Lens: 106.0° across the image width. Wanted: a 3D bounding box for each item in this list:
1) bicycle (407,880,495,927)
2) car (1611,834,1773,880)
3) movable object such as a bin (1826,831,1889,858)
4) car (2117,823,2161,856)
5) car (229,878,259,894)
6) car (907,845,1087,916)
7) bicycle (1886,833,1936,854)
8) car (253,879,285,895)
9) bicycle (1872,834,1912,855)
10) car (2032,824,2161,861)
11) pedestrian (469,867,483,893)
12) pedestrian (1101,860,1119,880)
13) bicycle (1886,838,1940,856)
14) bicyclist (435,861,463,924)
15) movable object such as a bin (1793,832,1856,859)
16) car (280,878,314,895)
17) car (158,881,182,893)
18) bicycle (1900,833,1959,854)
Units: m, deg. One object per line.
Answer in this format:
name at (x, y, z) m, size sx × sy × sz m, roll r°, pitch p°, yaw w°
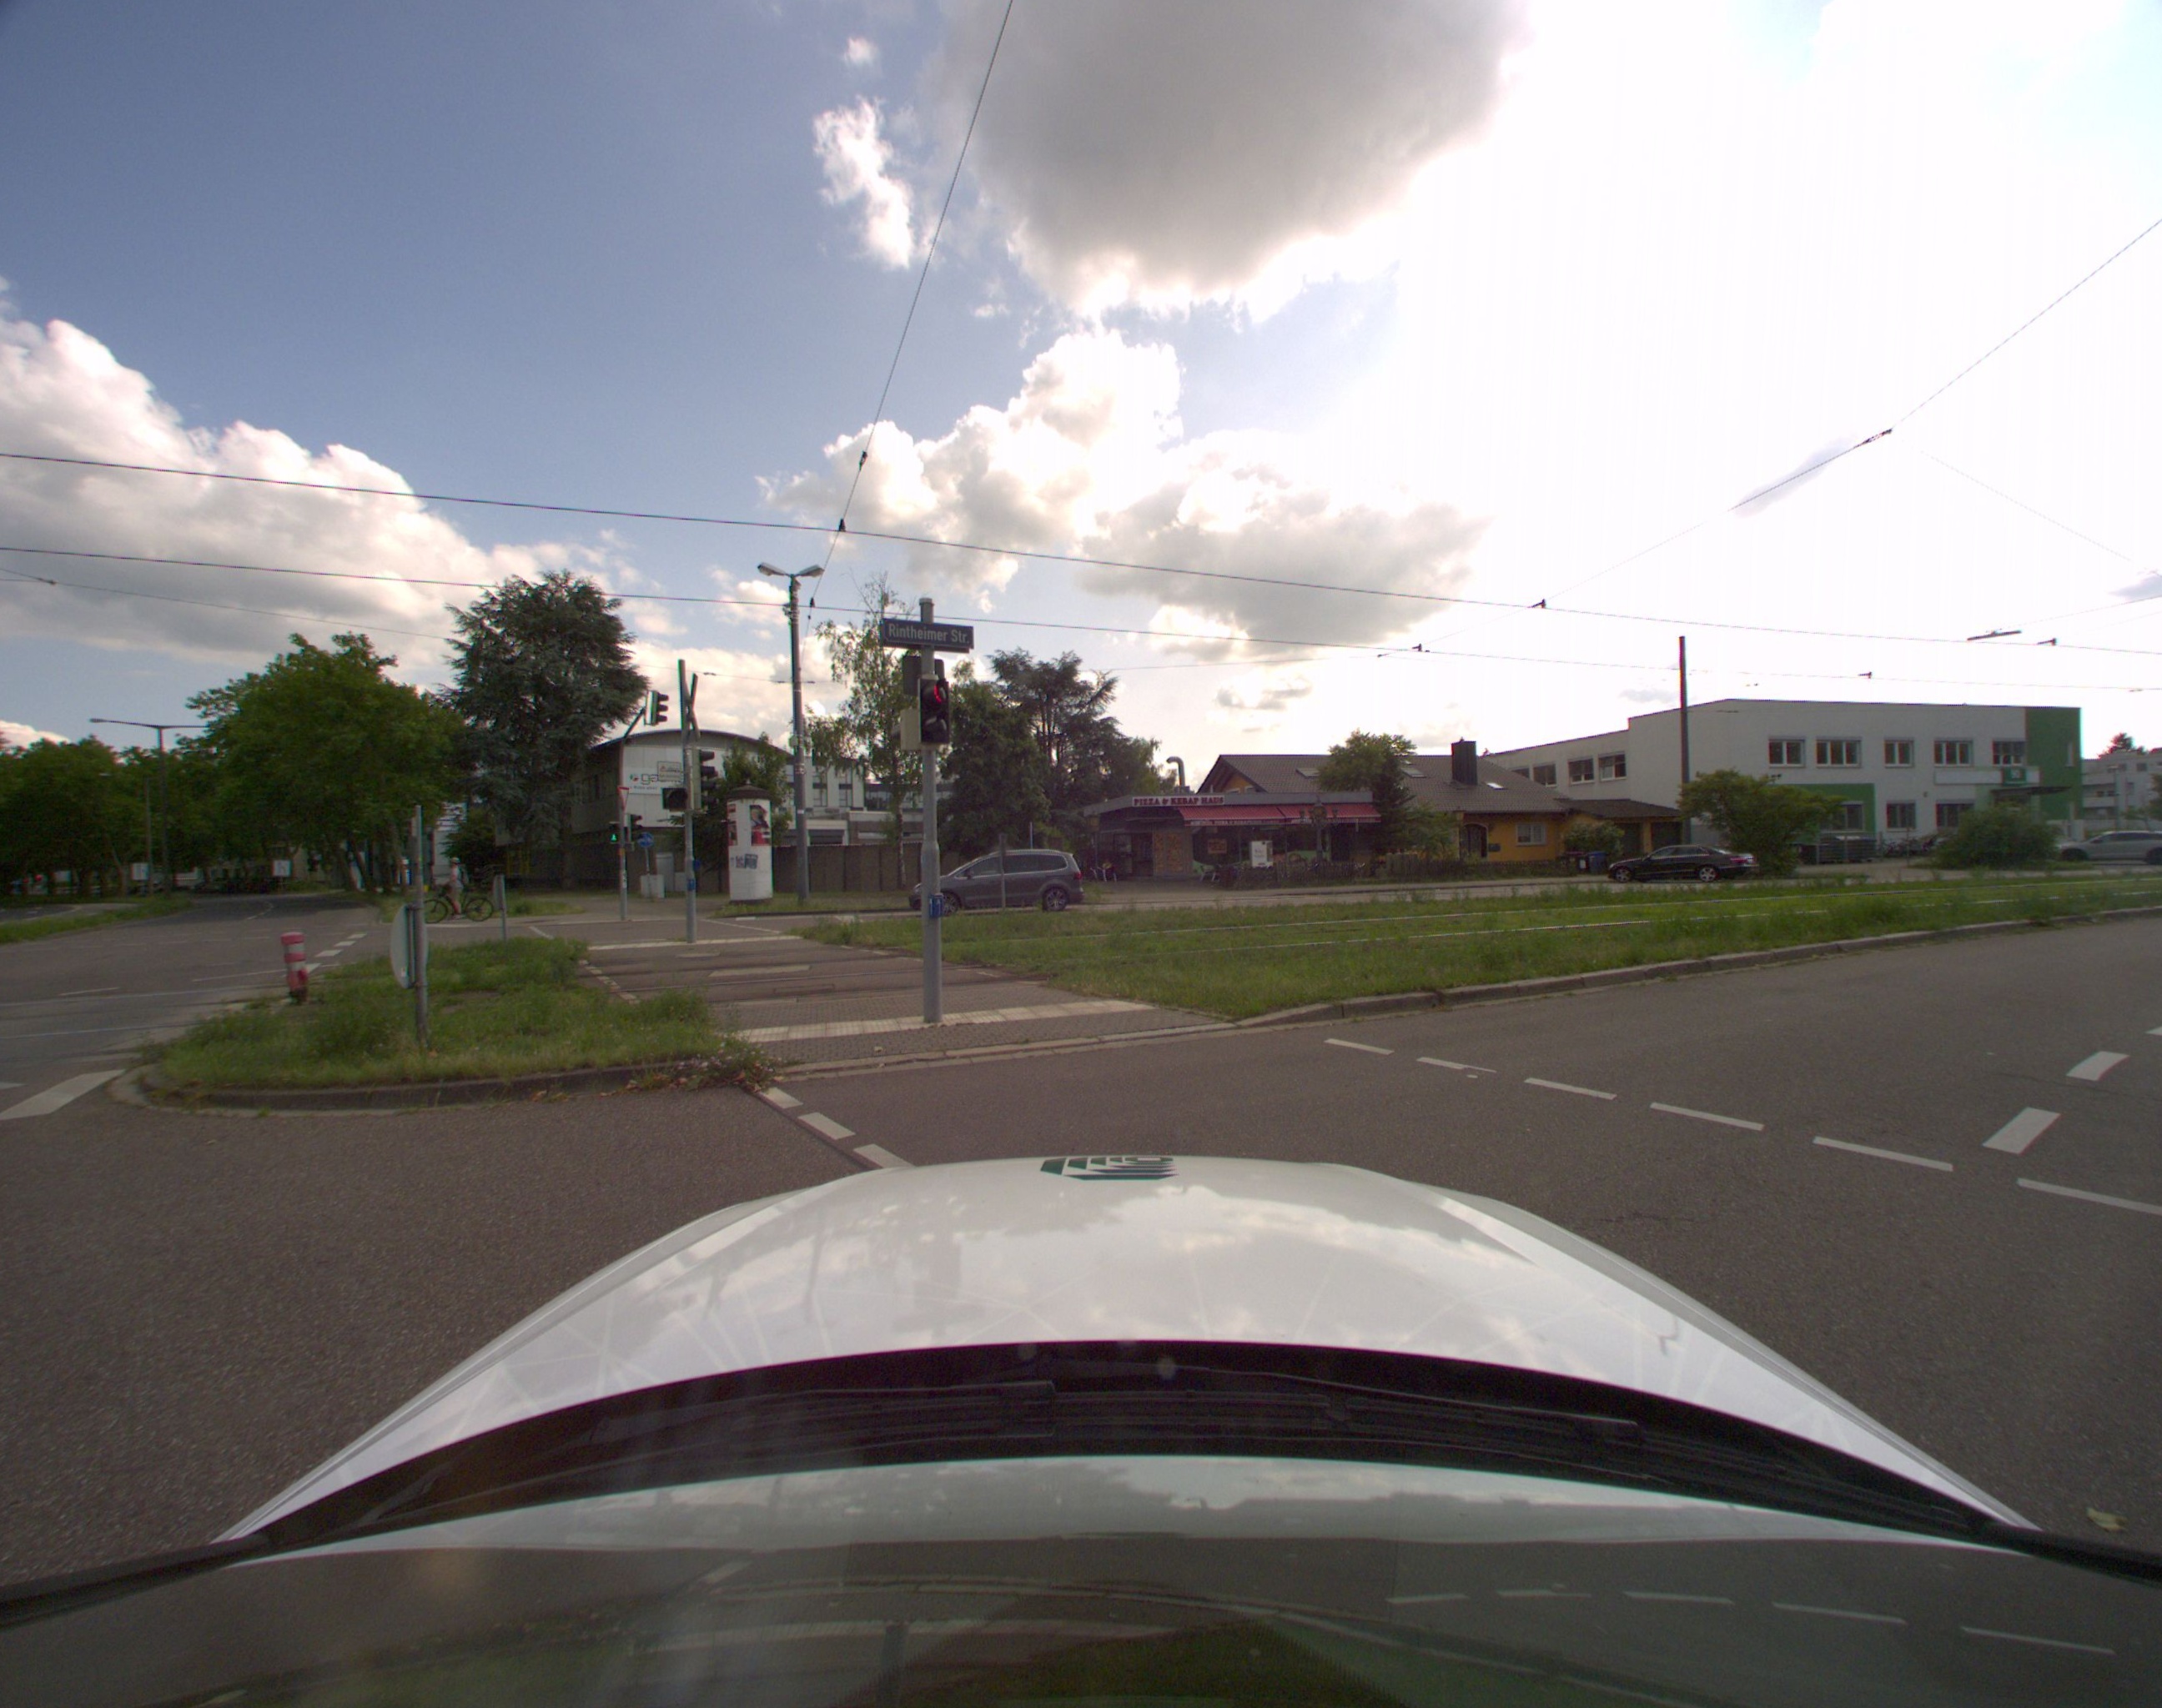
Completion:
bicycle at (-18.430, 1.439, 23.888) m, size 1.959 × 1.235 × 0.535 m, roll -2°, pitch 2°, yaw -32°
car at (23.339, 0.163, 31.298) m, size 2.008 × 1.580 × 4.532 m, roll -2°, pitch -1°, yaw -33°
movable object such as a bin at (40.534, -0.479, 42.526) m, size 2.124 × 1.326 × 1.372 m, roll -2°, pitch 0°, yaw -10°
car at (54.353, -0.742, 39.939) m, size 1.912 × 1.629 × 4.264 m, roll -1°, pitch 0°, yaw -41°
car at (-99.439, 3.800, 96.722) m, size 3.948 × 1.573 × 2.013 m, roll 1°, pitch 2°, yaw 38°
car at (-2.382, 0.684, 22.594) m, size 4.730 × 1.722 × 1.991 m, roll -2°, pitch 0°, yaw -13°
bicycle at (45.950, -0.580, 45.125) m, size 0.735 × 1.081 × 1.788 m, roll -2°, pitch 0°, yaw -15°
car at (-92.235, 3.740, 92.491) m, size 3.948 × 1.573 × 2.013 m, roll 1°, pitch 2°, yaw 38°
bicycle at (46.574, -0.539, 46.781) m, size 0.700 × 1.166 × 1.622 m, roll -2°, pitch 0°, yaw 4°
car at (48.457, -0.544, 38.560) m, size 4.261 × 1.629 × 1.913 m, roll -2°, pitch 0°, yaw 44°
pedestrian at (-37.922, 1.647, 51.027) m, size 0.626 × 1.569 × 0.553 m, roll -2°, pitch 2°, yaw -41°
pedestrian at (1.379, 0.745, 38.587) m, size 0.724 × 0.929 × 0.775 m, roll -1°, pitch 1°, yaw -8°
bicycle at (48.081, -0.395, 47.074) m, size 0.728 × 0.970 × 2.153 m, roll -2°, pitch 0°, yaw -9°
bicyclist at (-18.511, 1.109, 23.842) m, size 0.546 × 1.809 × 0.535 m, roll -1°, pitch 2°, yaw -31°
movable object such as a bin at (38.397, -0.445, 42.074) m, size 2.110 × 1.326 × 1.372 m, roll -2°, pitch 0°, yaw -10°
car at (-82.612, 3.382, 85.836) m, size 3.948 × 1.573 × 2.013 m, roll 1°, pitch 2°, yaw 38°
car at (-132.548, 4.784, 118.455) m, size 3.948 × 1.573 × 2.013 m, roll 1°, pitch 2°, yaw 38°
bicycle at (49.009, -0.603, 47.064) m, size 0.757 × 1.166 × 2.346 m, roll -2°, pitch 0°, yaw -7°
